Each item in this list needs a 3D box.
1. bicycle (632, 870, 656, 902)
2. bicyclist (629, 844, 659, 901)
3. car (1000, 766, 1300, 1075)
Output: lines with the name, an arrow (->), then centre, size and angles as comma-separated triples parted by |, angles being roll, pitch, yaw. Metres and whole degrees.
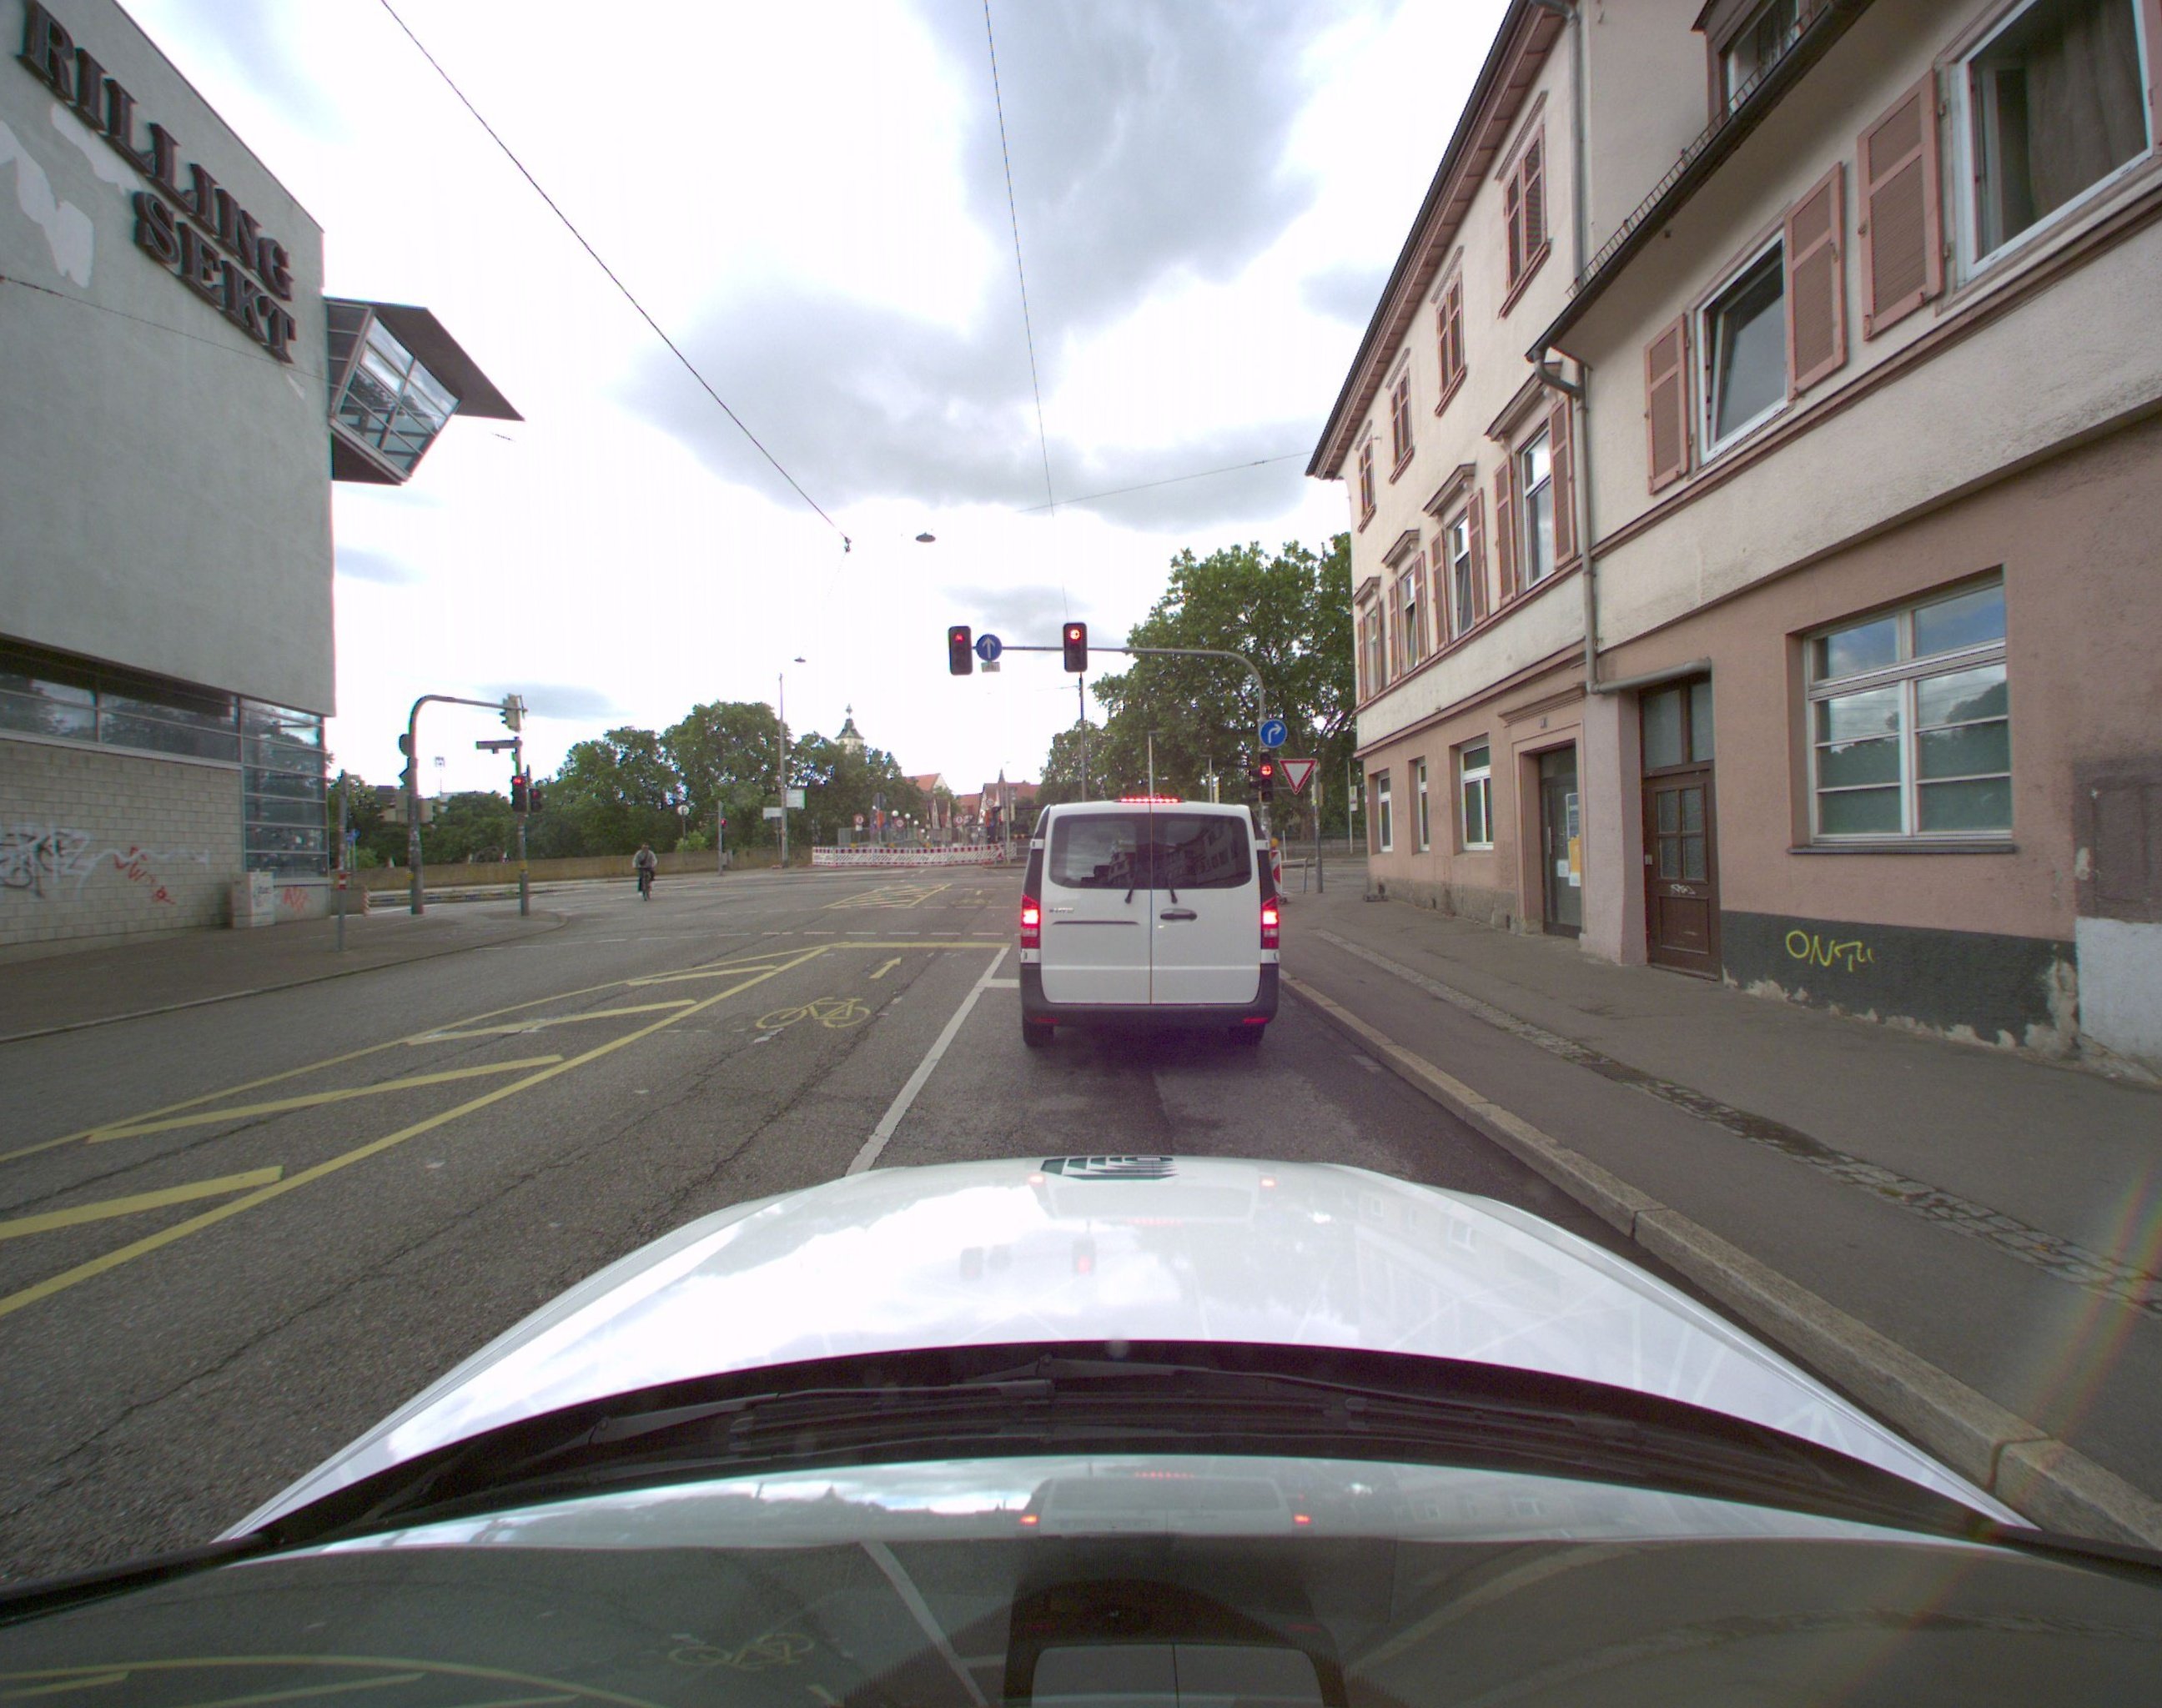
bicycle -> -13.503, 0.968, 25.175 | 0.544, 0.892, 1.864 | -2, 0, -26
bicyclist -> -13.502, 0.562, 25.165 | 0.727, 1.701, 0.804 | -2, 0, -26
car -> 0.528, 0.382, 7.673 | 1.943, 2.013, 4.700 | 0, 1, 2
